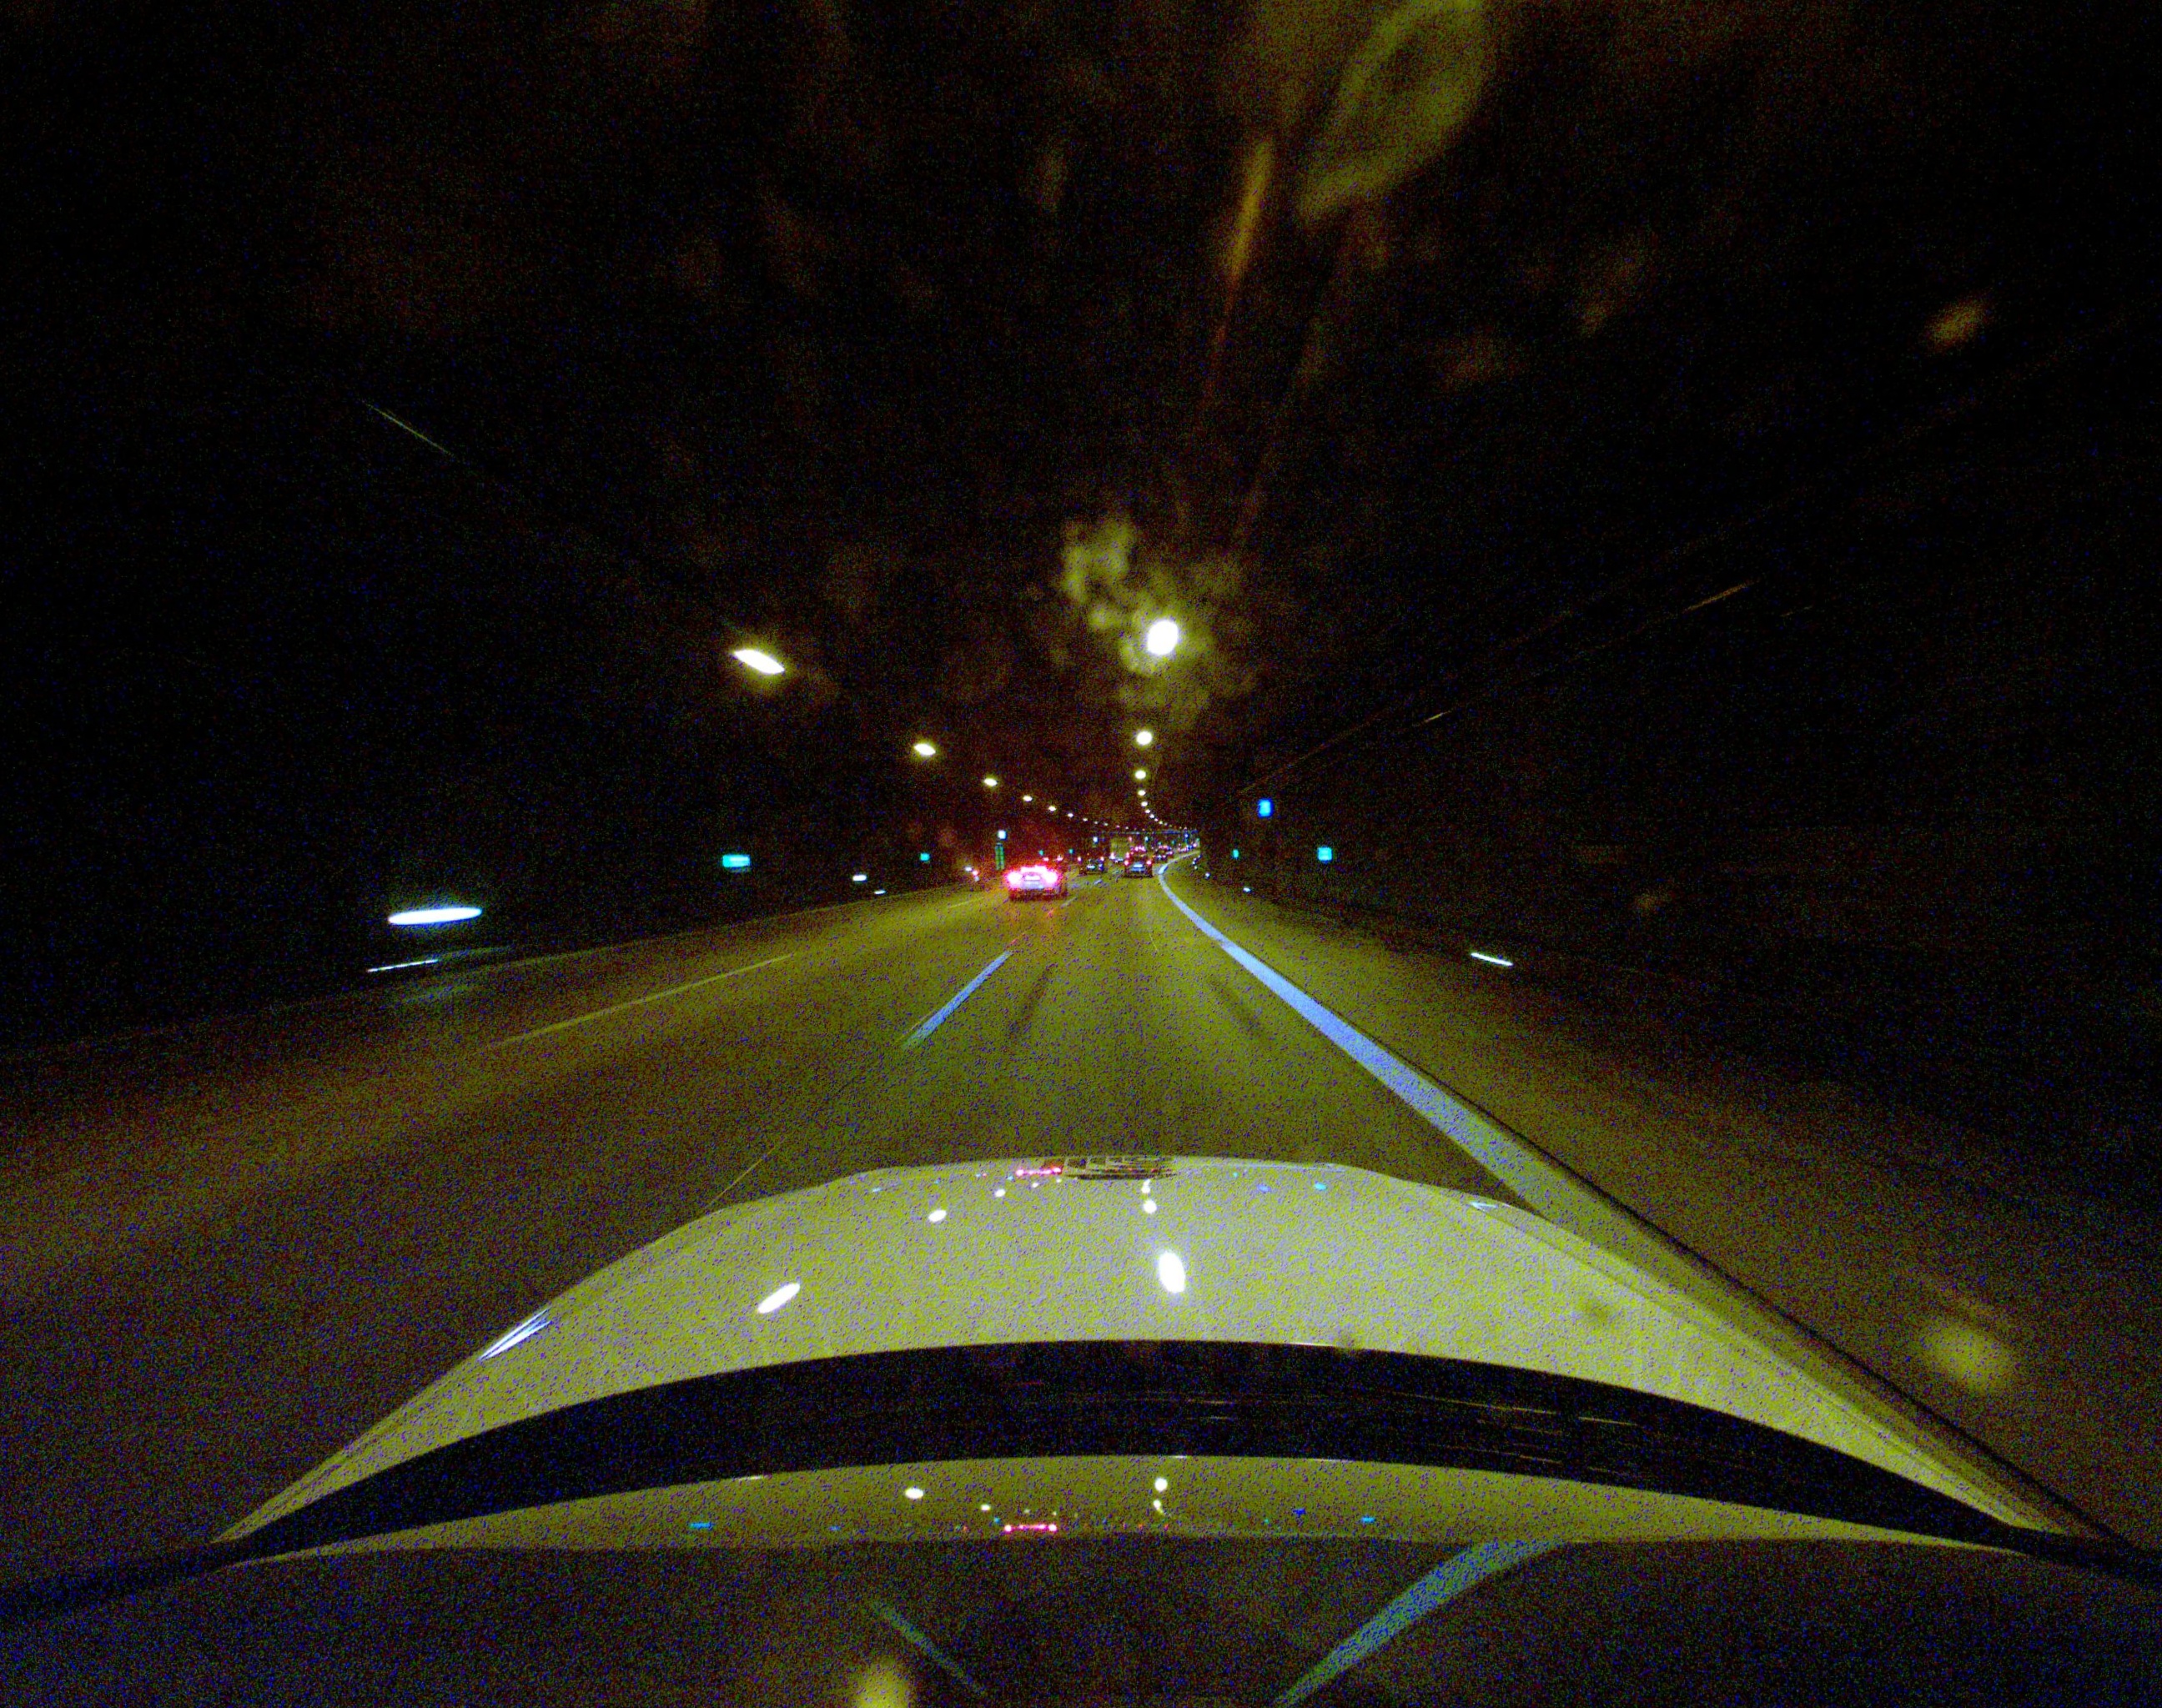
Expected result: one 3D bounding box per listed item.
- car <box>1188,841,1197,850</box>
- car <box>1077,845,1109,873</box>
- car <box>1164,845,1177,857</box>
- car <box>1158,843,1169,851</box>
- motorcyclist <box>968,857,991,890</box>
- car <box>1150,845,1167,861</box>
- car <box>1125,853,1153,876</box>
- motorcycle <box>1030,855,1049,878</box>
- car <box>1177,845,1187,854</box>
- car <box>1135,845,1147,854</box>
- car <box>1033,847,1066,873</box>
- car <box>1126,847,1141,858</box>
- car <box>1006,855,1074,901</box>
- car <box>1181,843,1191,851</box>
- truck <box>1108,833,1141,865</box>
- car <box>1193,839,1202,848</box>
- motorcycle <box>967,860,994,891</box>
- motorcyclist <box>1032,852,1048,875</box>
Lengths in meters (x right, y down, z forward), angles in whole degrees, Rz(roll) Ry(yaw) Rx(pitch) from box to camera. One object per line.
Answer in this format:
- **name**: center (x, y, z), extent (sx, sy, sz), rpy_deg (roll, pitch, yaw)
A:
- **car**: center (27.840, -2.158, 203.776), extent (1.981, 2.014, 4.011), rpy_deg (-1, -1, 10)
- **car**: center (0.934, 0.348, 60.410), extent (1.899, 1.944, 3.879), rpy_deg (-1, 2, 7)
- **car**: center (13.859, -0.462, 125.883), extent (1.939, 1.772, 4.008), rpy_deg (-1, -1, 7)
- **car**: center (18.744, -1.513, 185.009), extent (1.917, 1.642, 4.014), rpy_deg (-1, -1, 13)
- **motorcyclist**: center (-4.432, 0.851, 35.697), extent (0.773, 1.452, 1.070), rpy_deg (-1, -1, 5)
- **car**: center (9.375, -0.088, 98.288), extent (1.847, 1.854, 4.007), rpy_deg (-1, 0, 6)
- **car**: center (3.801, 0.674, 52.972), extent (1.734, 1.464, 3.876), rpy_deg (-1, -1, 5)
- **motorcycle**: center (-2.685, 0.805, 53.585), extent (0.922, 1.434, 2.966), rpy_deg (0, -1, 3)
- **car**: center (20.281, -0.918, 163.291), extent (1.919, 1.642, 4.010), rpy_deg (-1, -1, 9)
- **car**: center (11.130, -0.774, 151.550), extent (1.919, 1.642, 4.010), rpy_deg (-1, 0, 9)
- **car**: center (-2.556, 0.494, 66.811), extent (1.983, 2.013, 4.008), rpy_deg (-1, 0, 7)
- **car**: center (8.103, -0.299, 125.367), extent (1.983, 1.631, 4.009), rpy_deg (-1, 0, 7)
- **car**: center (-1.409, 0.829, 29.855), extent (1.693, 1.419, 5.069), rpy_deg (-1, 1, 6)
- **car**: center (24.377, -1.574, 188.813), extent (1.982, 1.632, 4.010), rpy_deg (-1, -1, 9)
- **truck**: center (5.196, -0.577, 96.436), extent (3.021, 3.673, 7.412), rpy_deg (-1, 0, 9)
- **car**: center (27.943, -2.447, 195.054), extent (1.980, 2.014, 4.013), rpy_deg (-1, -1, 12)
- **motorcycle**: center (-4.411, 0.914, 35.845), extent (0.679, 1.297, 2.402), rpy_deg (-1, 0, 5)
- **motorcyclist**: center (-2.677, 0.630, 53.588), extent (0.803, 1.448, 1.867), rpy_deg (-1, -1, 4)
